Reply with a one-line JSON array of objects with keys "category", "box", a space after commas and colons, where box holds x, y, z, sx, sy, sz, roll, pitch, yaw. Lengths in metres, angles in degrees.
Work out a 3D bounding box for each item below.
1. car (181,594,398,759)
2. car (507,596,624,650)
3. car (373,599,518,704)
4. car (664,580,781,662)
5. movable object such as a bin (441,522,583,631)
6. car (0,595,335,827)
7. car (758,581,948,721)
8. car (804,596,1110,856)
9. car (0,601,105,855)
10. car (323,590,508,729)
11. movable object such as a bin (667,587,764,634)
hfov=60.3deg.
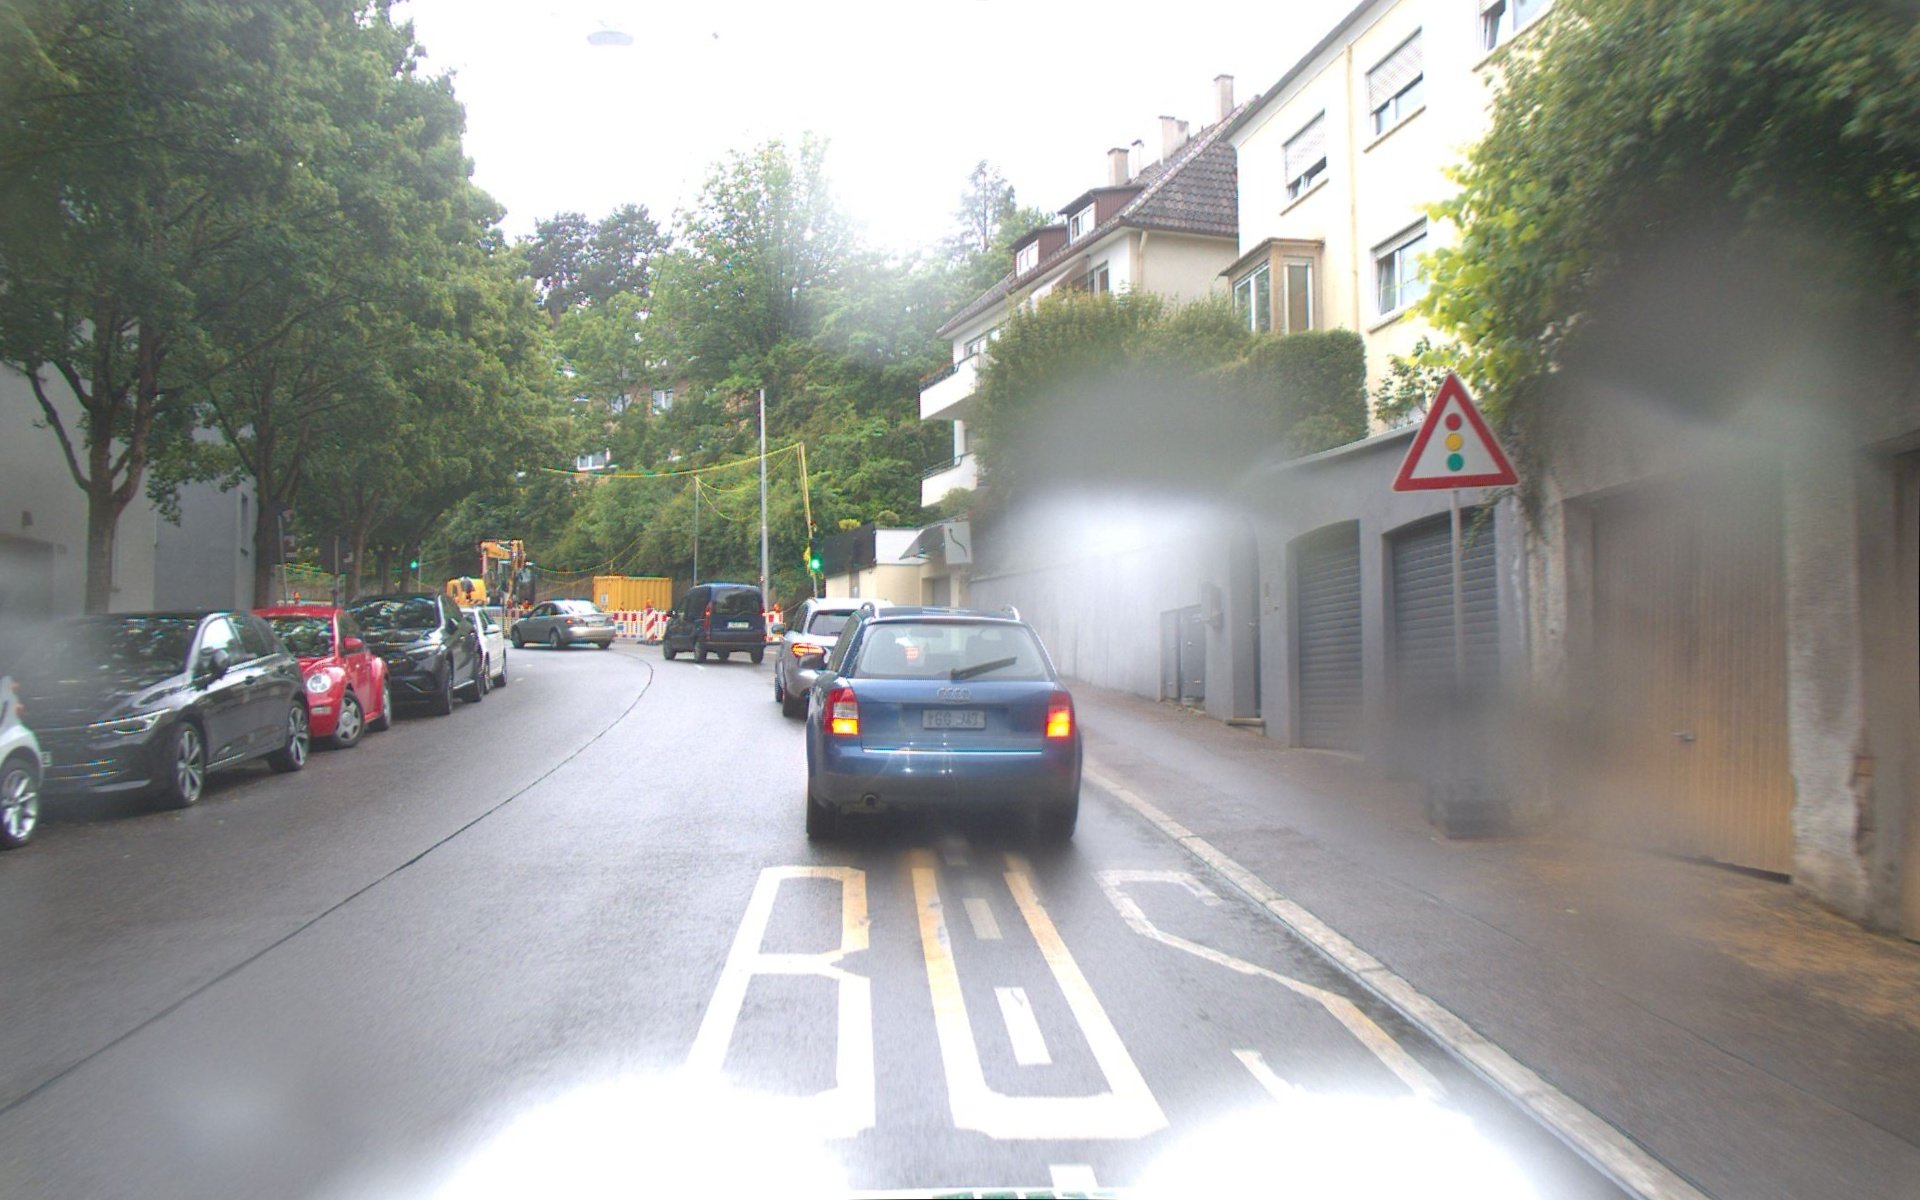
[{"category": "car", "box": [-7.251, 0.789, 18.226, 1.604, 1.592, 3.835, -1, -1, -13]}, {"category": "car", "box": [-11.885, 0.685, 49.717, 1.712, 1.512, 4.014, -2, 0, -42]}, {"category": "car", "box": [-8.752, 0.818, 28.442, 1.651, 1.534, 4.307, -4, 1, -8]}, {"category": "car", "box": [-5.796, 0.485, 39.949, 1.965, 1.825, 3.976, -2, 0, -20]}, {"category": "movable object such as a bin", "box": [-17.931, -0.921, 65.924, 2.801, 4.084, 7.223, 0, 0, -39]}, {"category": "car", "box": [-6.517, 0.804, 13.378, 1.525, 1.514, 4.094, -4, 0, -4]}, {"category": "car", "box": [-1.523, 0.584, 21.836, 1.892, 1.646, 4.307, 0, 0, -12]}, {"category": "car", "box": [-0.187, 0.715, 11.412, 1.751, 1.467, 3.959, 0, 0, -5]}, {"category": "car", "box": [-6.592, 0.823, 9.602, 1.524, 1.537, 3.382, -4, 0, -3]}, {"category": "car", "box": [-7.622, 0.748, 23.552, 1.651, 1.636, 4.567, -4, 1, -9]}, {"category": "movable object such as a bin", "box": [-8.520, 0.333, 57.391, 1.973, 1.546, 3.959, 1, 0, -31]}]
